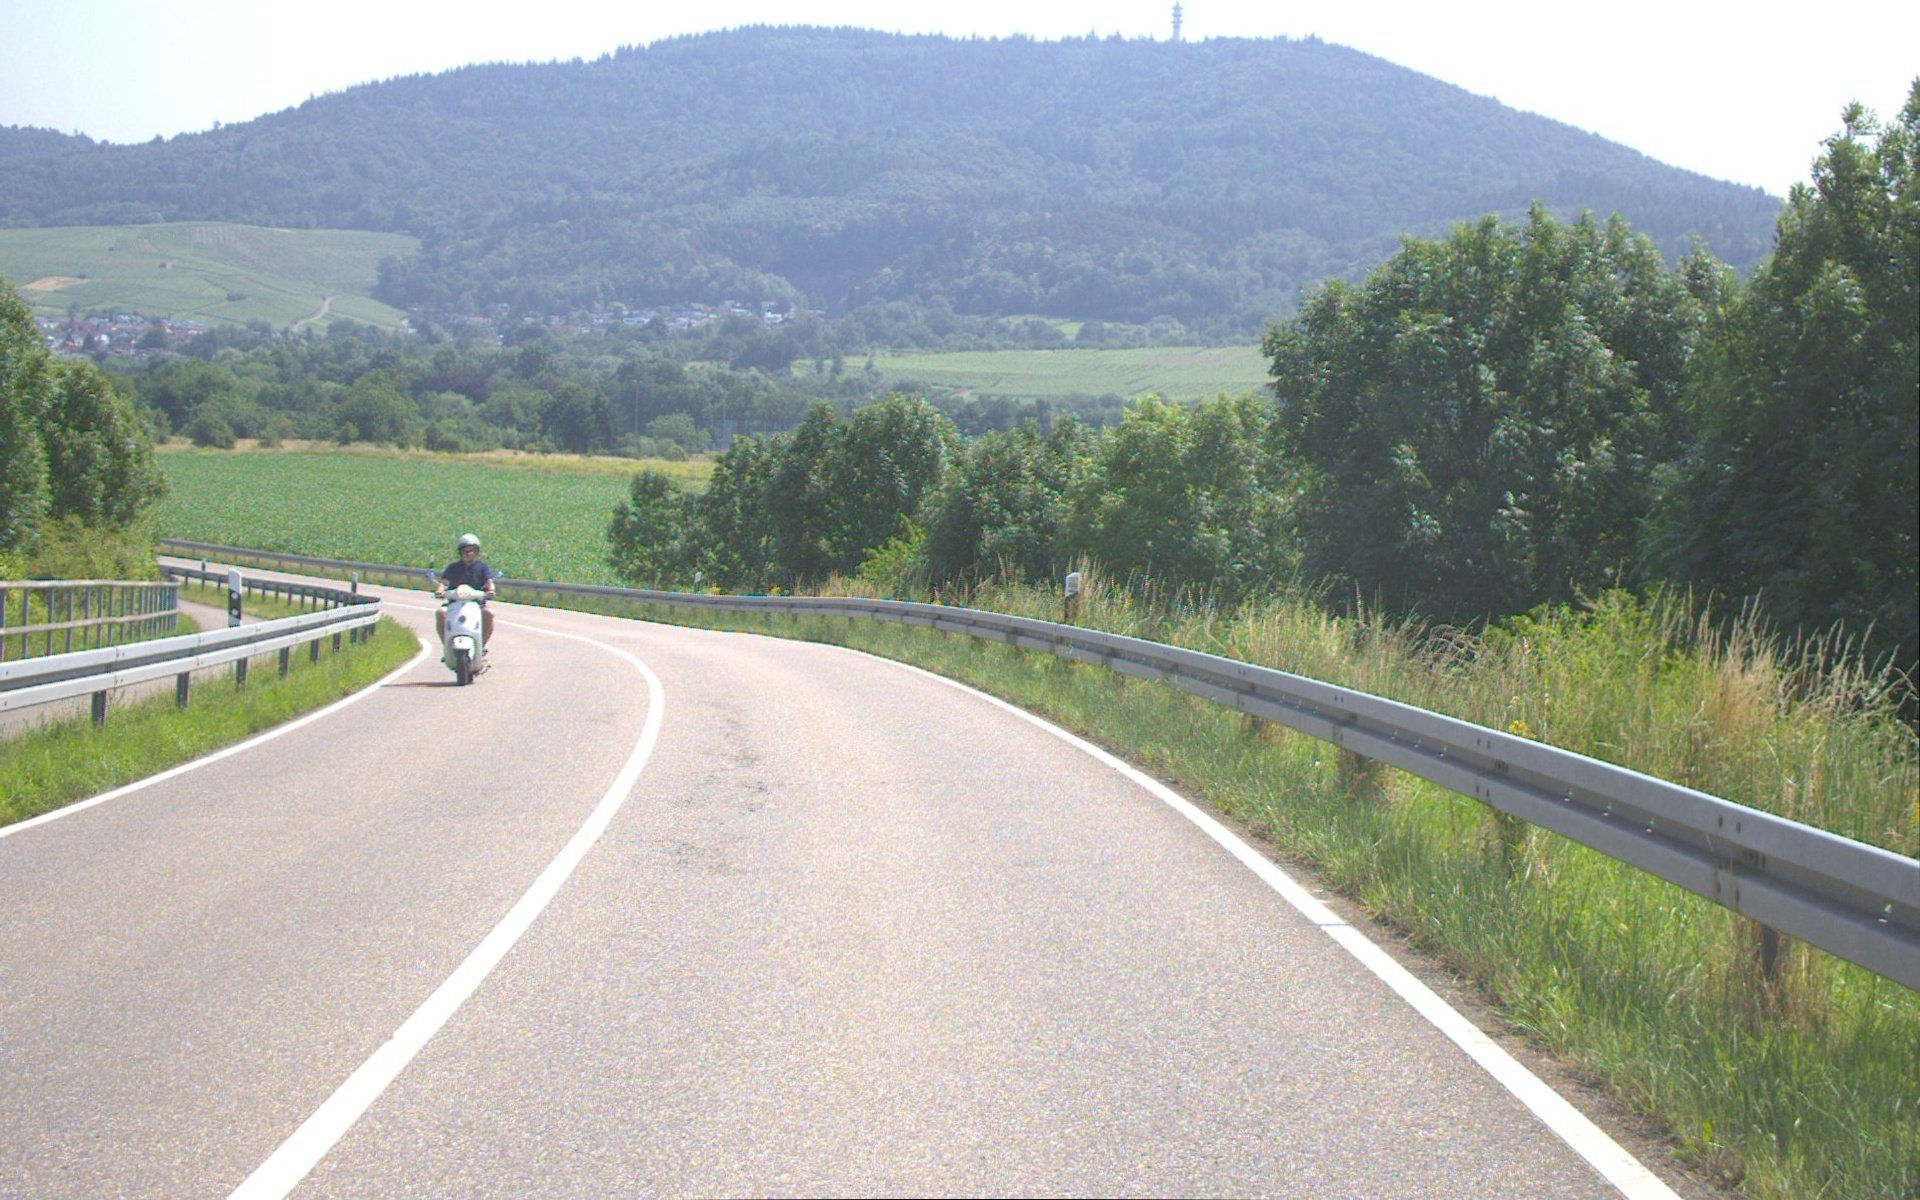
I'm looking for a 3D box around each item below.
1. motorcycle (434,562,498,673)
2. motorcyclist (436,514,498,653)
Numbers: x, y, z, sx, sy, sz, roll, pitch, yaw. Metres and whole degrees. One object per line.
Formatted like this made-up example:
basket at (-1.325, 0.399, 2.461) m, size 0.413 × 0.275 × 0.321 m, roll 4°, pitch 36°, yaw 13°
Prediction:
motorcycle at (-5.630, 0.181, 39.235) m, size 0.643 × 1.219 × 1.639 m, roll -1°, pitch 1°, yaw -6°
motorcyclist at (-5.624, -0.194, 39.252) m, size 0.654 × 1.557 × 0.775 m, roll -1°, pitch 1°, yaw -6°
